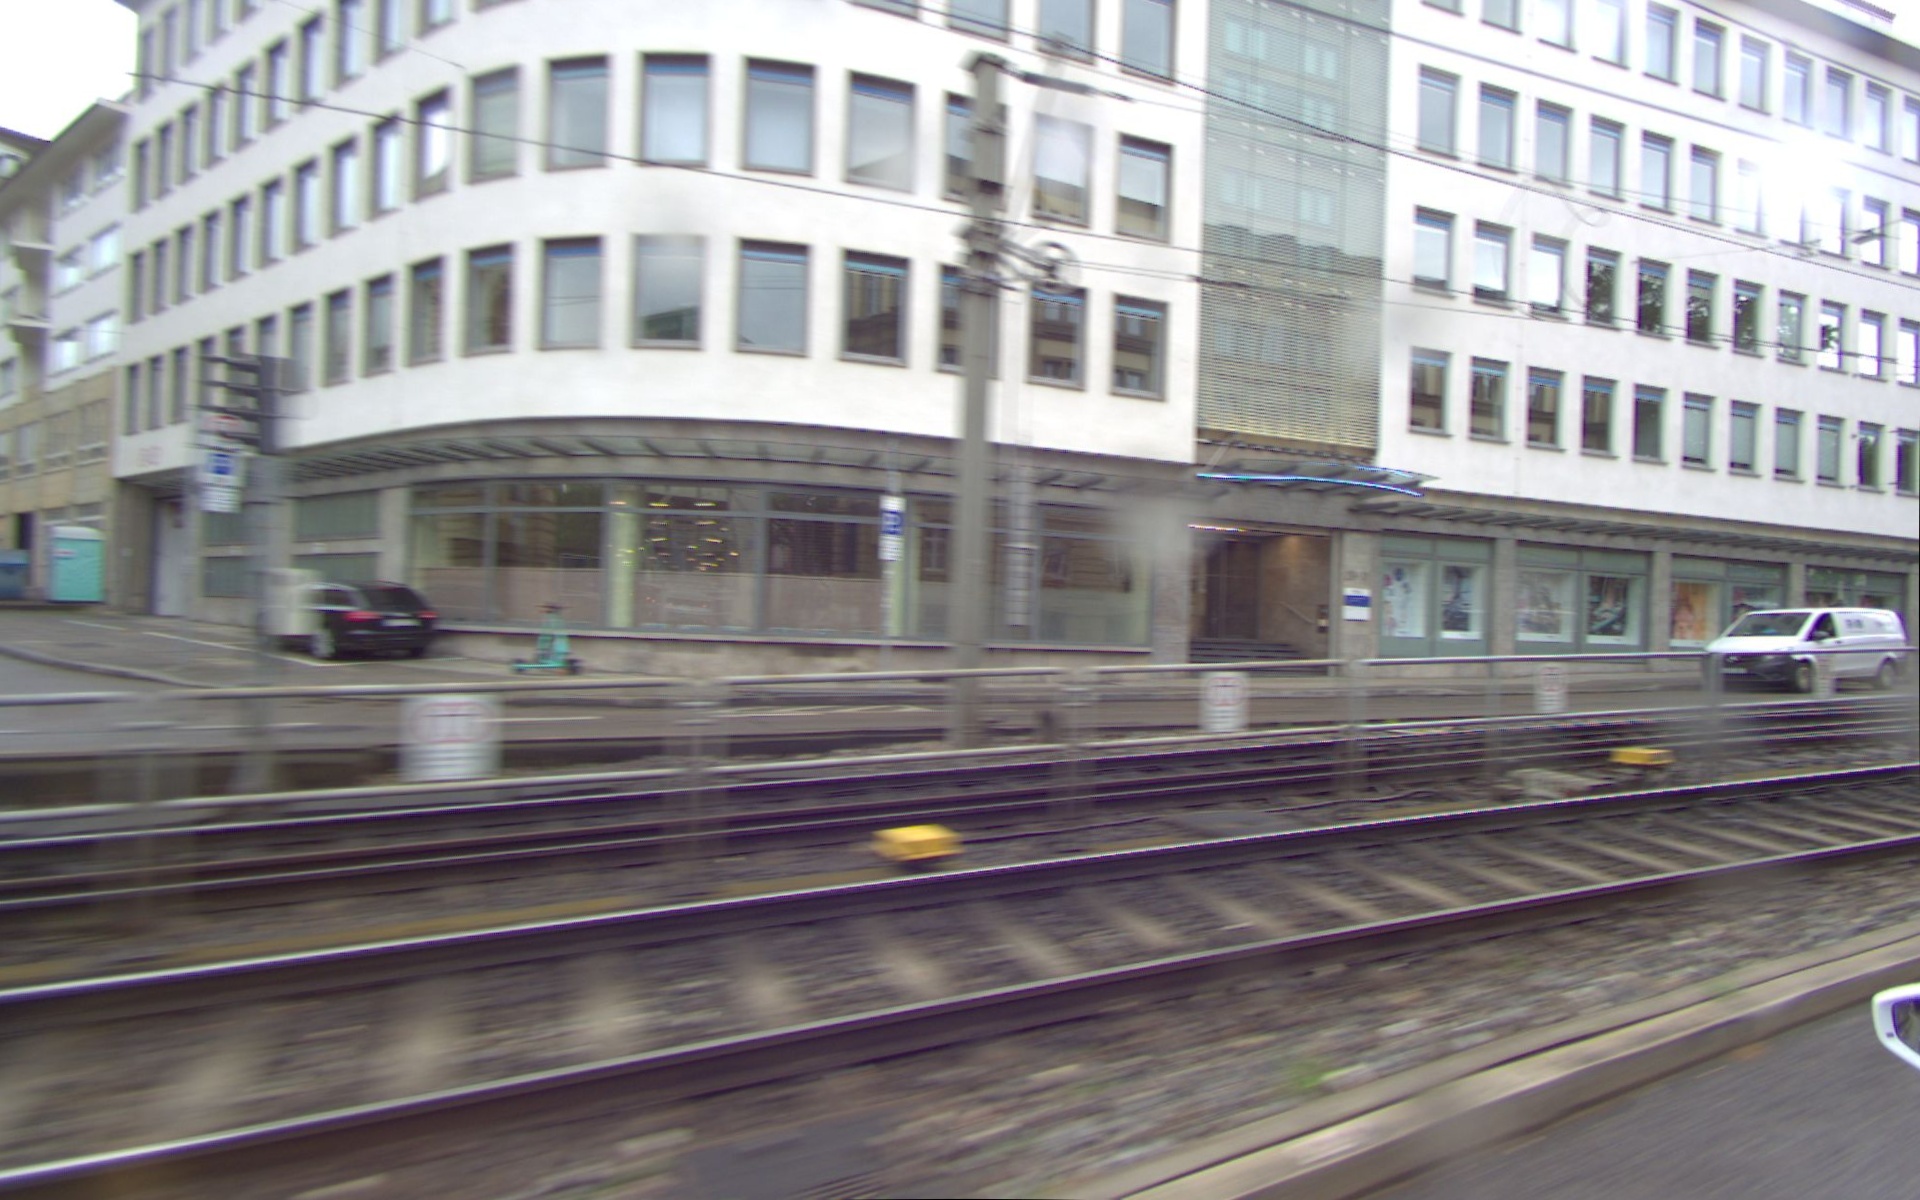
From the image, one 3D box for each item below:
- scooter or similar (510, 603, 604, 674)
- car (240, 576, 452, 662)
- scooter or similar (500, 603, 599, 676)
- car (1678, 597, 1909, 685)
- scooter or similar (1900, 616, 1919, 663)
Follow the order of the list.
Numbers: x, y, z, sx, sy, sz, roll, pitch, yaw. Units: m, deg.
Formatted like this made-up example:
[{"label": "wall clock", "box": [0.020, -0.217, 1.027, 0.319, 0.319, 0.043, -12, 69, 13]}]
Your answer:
[{"label": "scooter or similar", "box": [-7.342, 0.687, 18.317, 1.529, 1.216, 0.411, 2, 1, 3]}, {"label": "car", "box": [-12.098, 0.315, 19.746, 4.250, 1.417, 1.781, 3, 1, 31]}, {"label": "scooter or similar", "box": [-7.228, 0.687, 17.736, 1.530, 1.216, 0.410, 2, 1, -4]}, {"label": "car", "box": [19.468, 0.967, 23.450, 5.057, 1.867, 1.989, 2, 0, -22]}, {"label": "scooter or similar", "box": [30.409, 1.245, 31.019, 3.043, 1.393, 0.695, 2, 1, -21]}]
